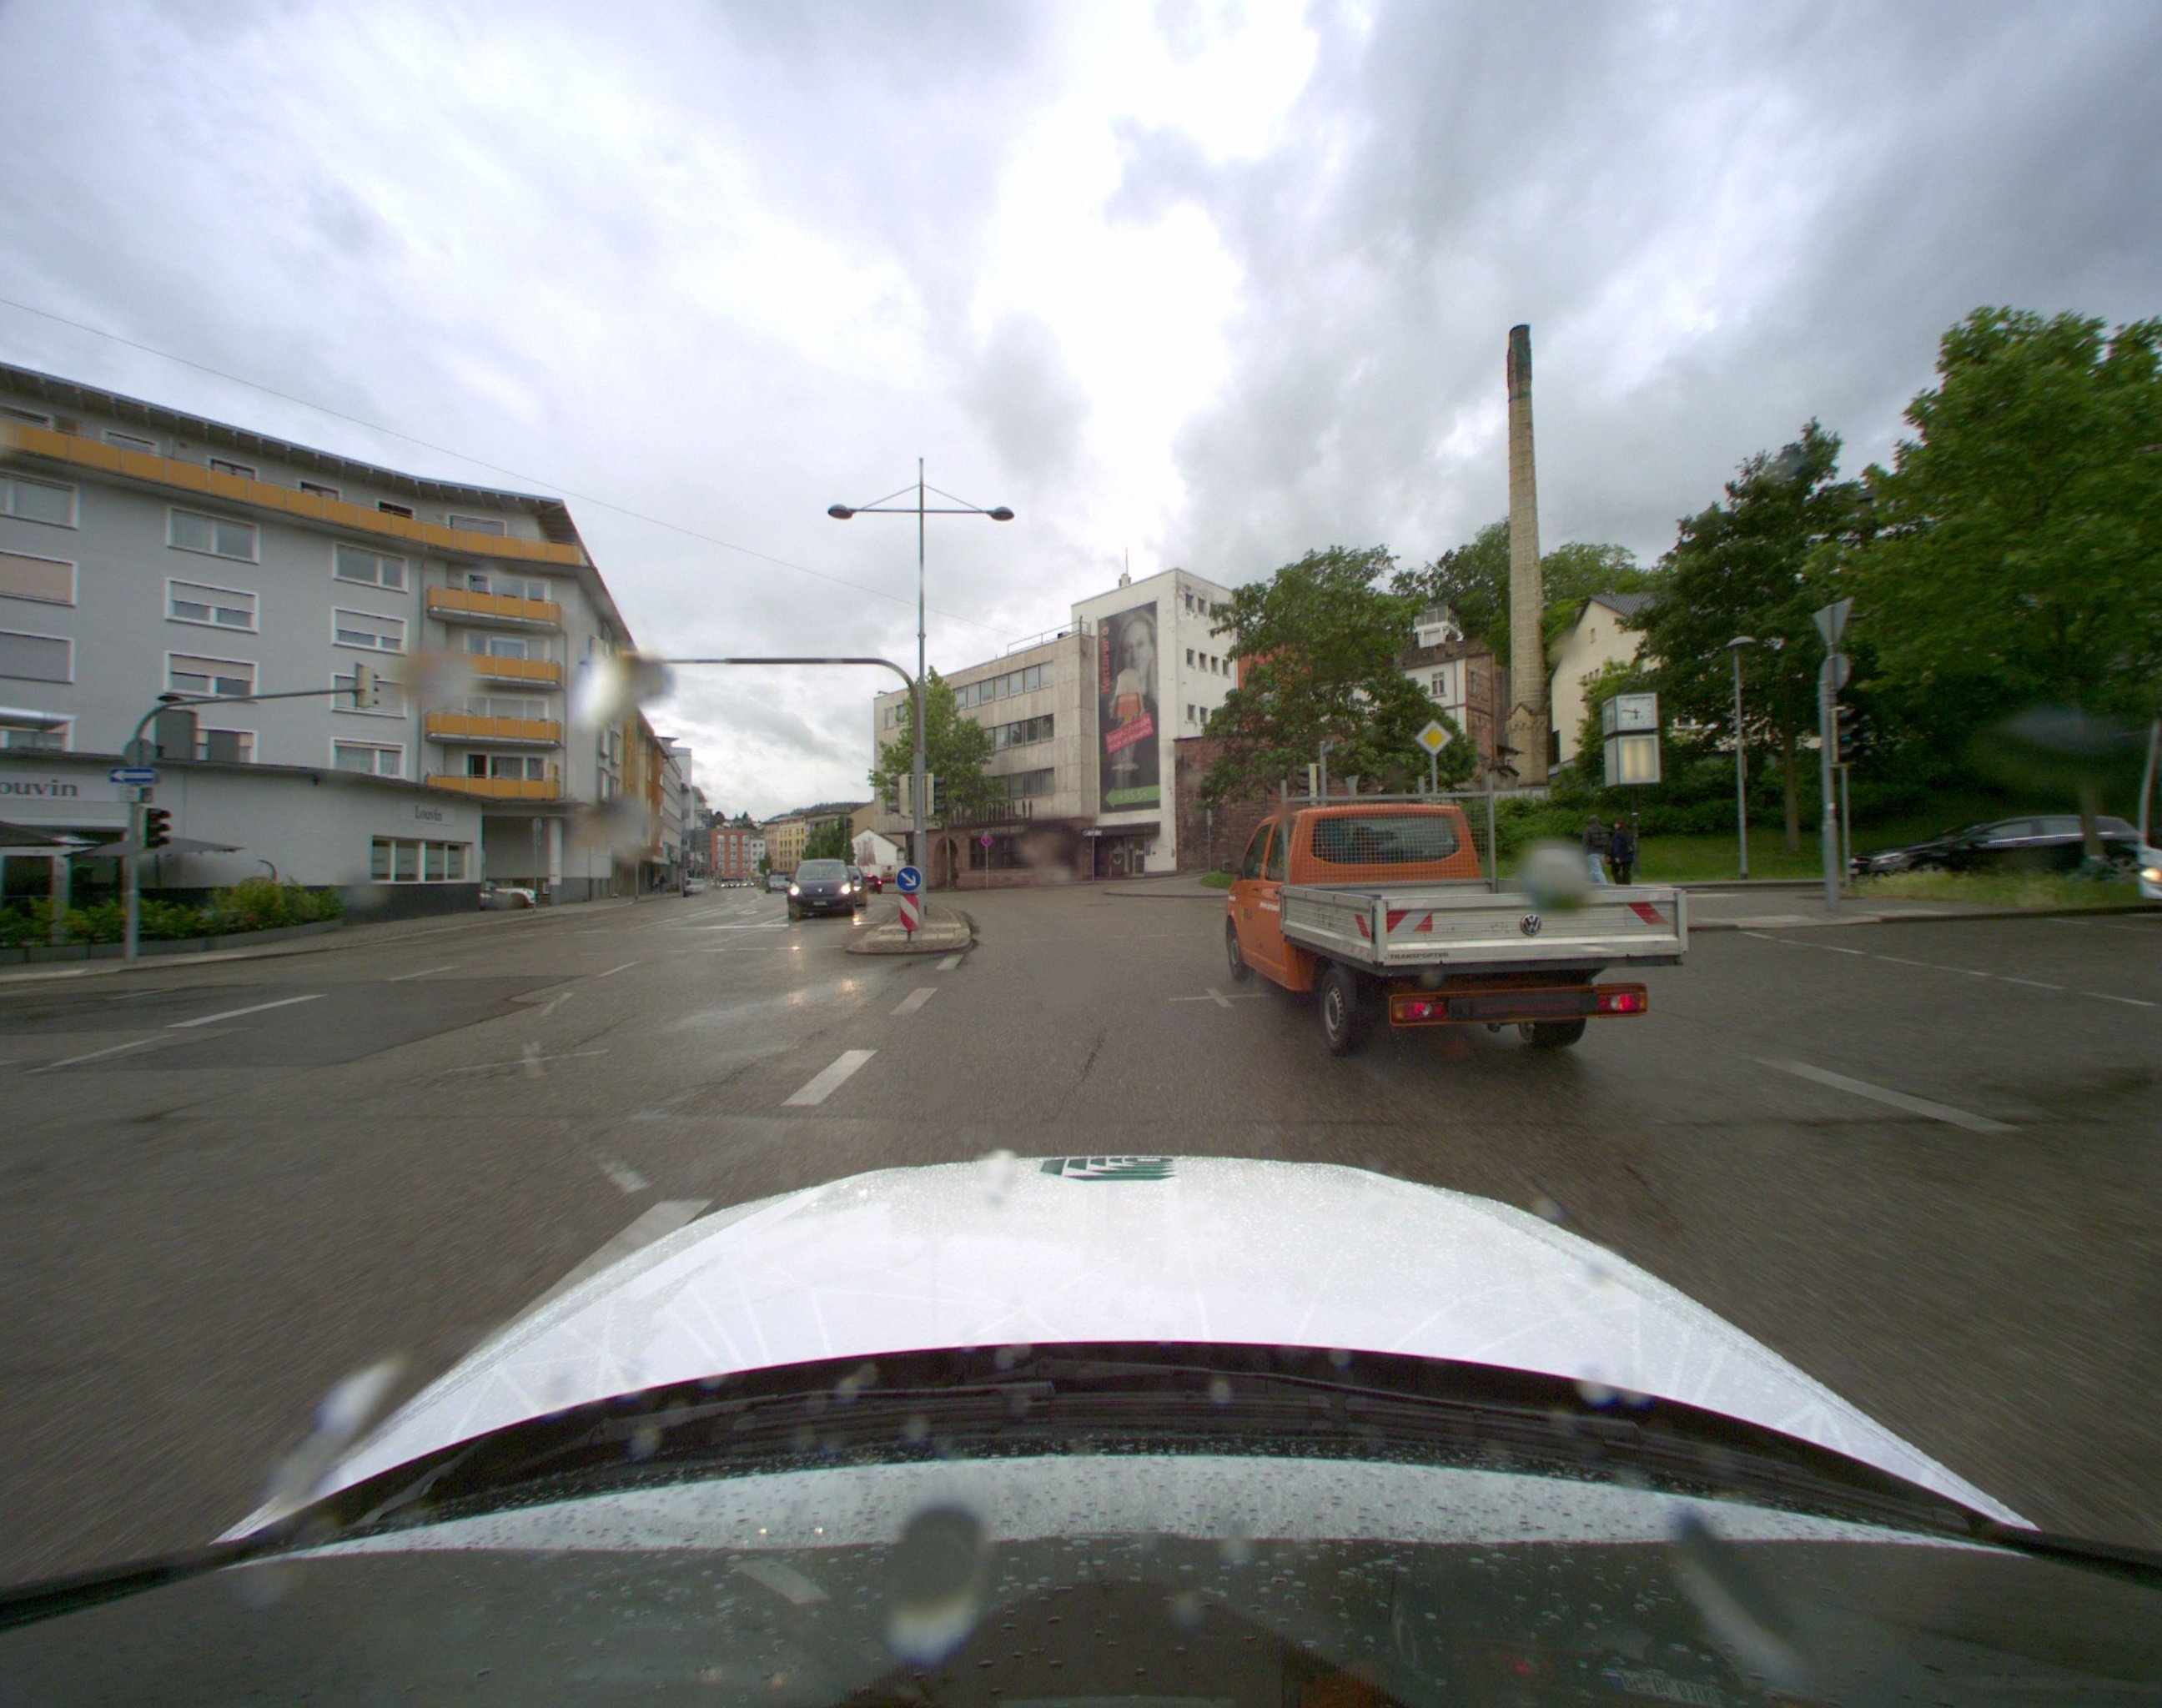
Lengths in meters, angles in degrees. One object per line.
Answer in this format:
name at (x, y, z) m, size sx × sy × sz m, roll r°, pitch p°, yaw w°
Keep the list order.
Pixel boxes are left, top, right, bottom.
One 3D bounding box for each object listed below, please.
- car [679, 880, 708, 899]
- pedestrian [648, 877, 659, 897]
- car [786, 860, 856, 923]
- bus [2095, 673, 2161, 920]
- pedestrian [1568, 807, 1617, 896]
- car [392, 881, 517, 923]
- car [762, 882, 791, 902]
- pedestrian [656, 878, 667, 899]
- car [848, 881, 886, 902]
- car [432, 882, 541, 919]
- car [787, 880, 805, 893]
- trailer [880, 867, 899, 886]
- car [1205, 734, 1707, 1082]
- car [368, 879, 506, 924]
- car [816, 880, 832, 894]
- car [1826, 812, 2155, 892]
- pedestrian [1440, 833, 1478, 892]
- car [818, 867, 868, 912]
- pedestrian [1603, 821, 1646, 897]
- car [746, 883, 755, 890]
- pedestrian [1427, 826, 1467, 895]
car at (-30.721, 2.826, 64.609) m, size 1.735 × 1.366 × 4.080 m, roll -1°, pitch -3°, yaw -21°
pedestrian at (-36.565, 2.833, 69.623) m, size 0.632 × 1.676 × 0.901 m, roll 5°, pitch -4°, yaw -23°
car at (-7.547, 1.040, 23.895) m, size 1.759 × 1.614 × 4.188 m, roll -1°, pitch -1°, yaw -16°
bus at (18.746, -0.819, 9.464) m, size 9.575 × 3.216 × 2.710 m, roll -1°, pitch 0°, yaw 7°
pedestrian at (11.815, -0.058, 18.816) m, size 0.777 × 2.013 × 0.592 m, roll -3°, pitch 0°, yaw 42°
car at (-25.975, 1.968, 33.904) m, size 3.772 × 1.421 × 1.626 m, roll -3°, pitch -1°, yaw -22°
car at (-24.197, 3.005, 64.698) m, size 1.742 × 1.440 × 4.374 m, roll -1°, pitch -2°, yaw -26°
pedestrian at (-35.993, 2.953, 69.850) m, size 0.577 × 1.789 × 0.820 m, roll 5°, pitch -4°, yaw -22°
car at (-15.797, 2.757, 60.073) m, size 1.799 × 1.403 × 4.593 m, roll -3°, pitch -1°, yaw -26°
car at (-26.437, 2.047, 36.364) m, size 3.640 × 1.338 × 1.483 m, roll -3°, pitch -1°, yaw -25°
car at (-36.152, 4.090, 103.145) m, size 1.674 × 1.396 × 3.833 m, roll 0°, pitch 0°, yaw -27°
trailer at (-30.270, 3.577, 128.779) m, size 2.134 × 2.716 × 5.354 m, roll -3°, pitch -1°, yaw -20°
car at (2.696, 0.413, 7.709) m, size 2.096 × 2.089 × 5.537 m, roll 0°, pitch -2°, yaw -1°
car at (-24.953, 1.830, 31.726) m, size 3.828 × 1.421 × 1.784 m, roll -3°, pitch -2°, yaw -22°
car at (-28.688, 3.645, 90.909) m, size 1.669 × 1.396 × 3.843 m, roll -2°, pitch -1°, yaw -18°
car at (18.213, 0.005, 16.612) m, size 4.046 × 1.374 × 1.806 m, roll -3°, pitch -2°, yaw 24°
pedestrian at (10.596, 0.243, 22.812) m, size 0.605 × 1.599 × 0.698 m, roll -4°, pitch -1°, yaw -44°
car at (-8.477, 1.224, 29.180) m, size 1.559 × 1.398 × 3.707 m, roll -3°, pitch 0°, yaw -15°
pedestrian at (12.518, 0.119, 18.765) m, size 0.554 × 1.706 × 0.529 m, roll -3°, pitch 0°, yaw 2°
car at (-72.489, 7.054, 178.586) m, size 1.715 × 1.468 × 4.793 m, roll -3°, pitch -1°, yaw -22°
pedestrian at (10.036, 0.180, 22.348) m, size 0.685 × 1.830 × 0.747 m, roll -4°, pitch 0°, yaw 44°
